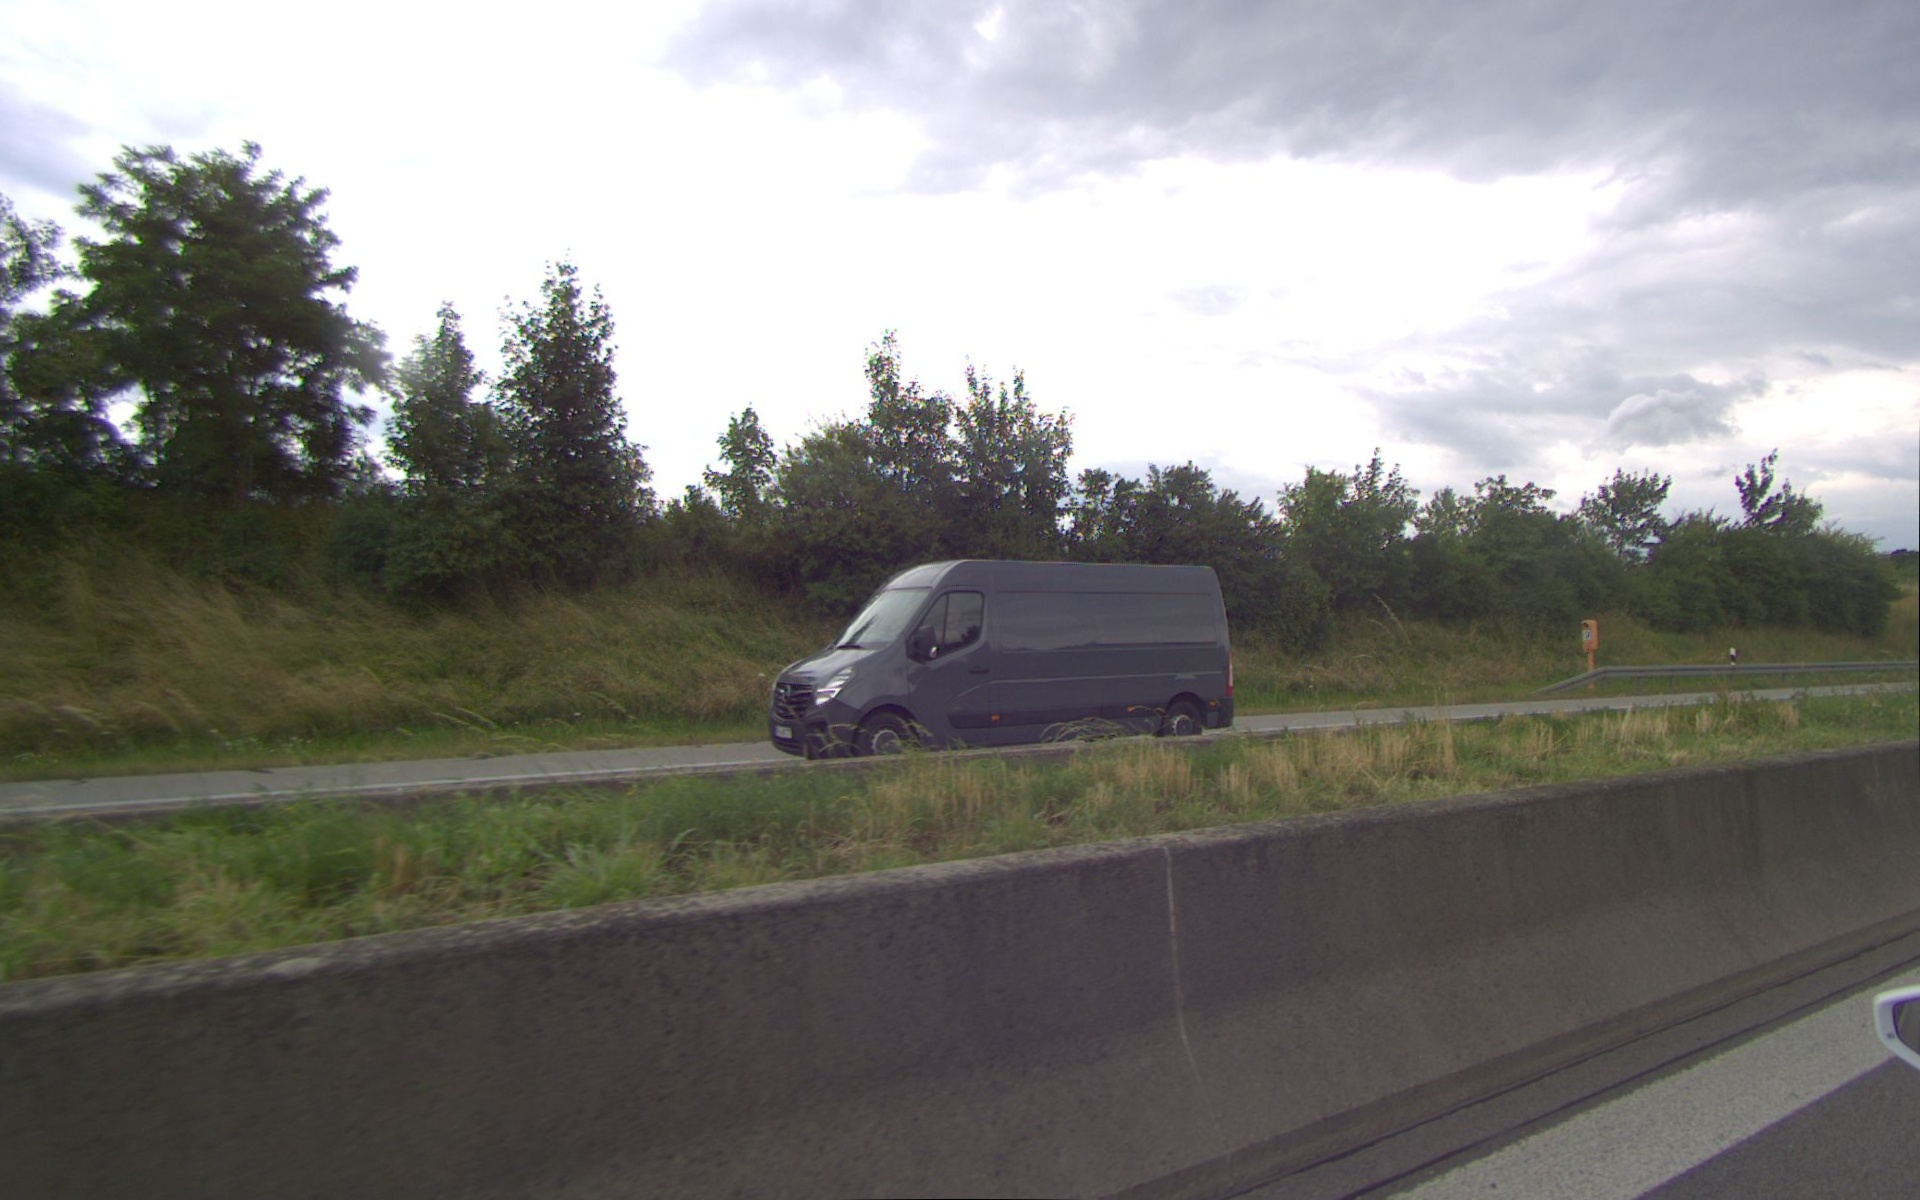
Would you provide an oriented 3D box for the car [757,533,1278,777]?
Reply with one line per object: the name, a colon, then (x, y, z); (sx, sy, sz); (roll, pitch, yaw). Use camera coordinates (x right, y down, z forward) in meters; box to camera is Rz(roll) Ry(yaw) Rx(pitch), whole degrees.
car: (0.933, 0.687, 12.927); (6.645, 2.497, 2.160); (2, -3, -31)
